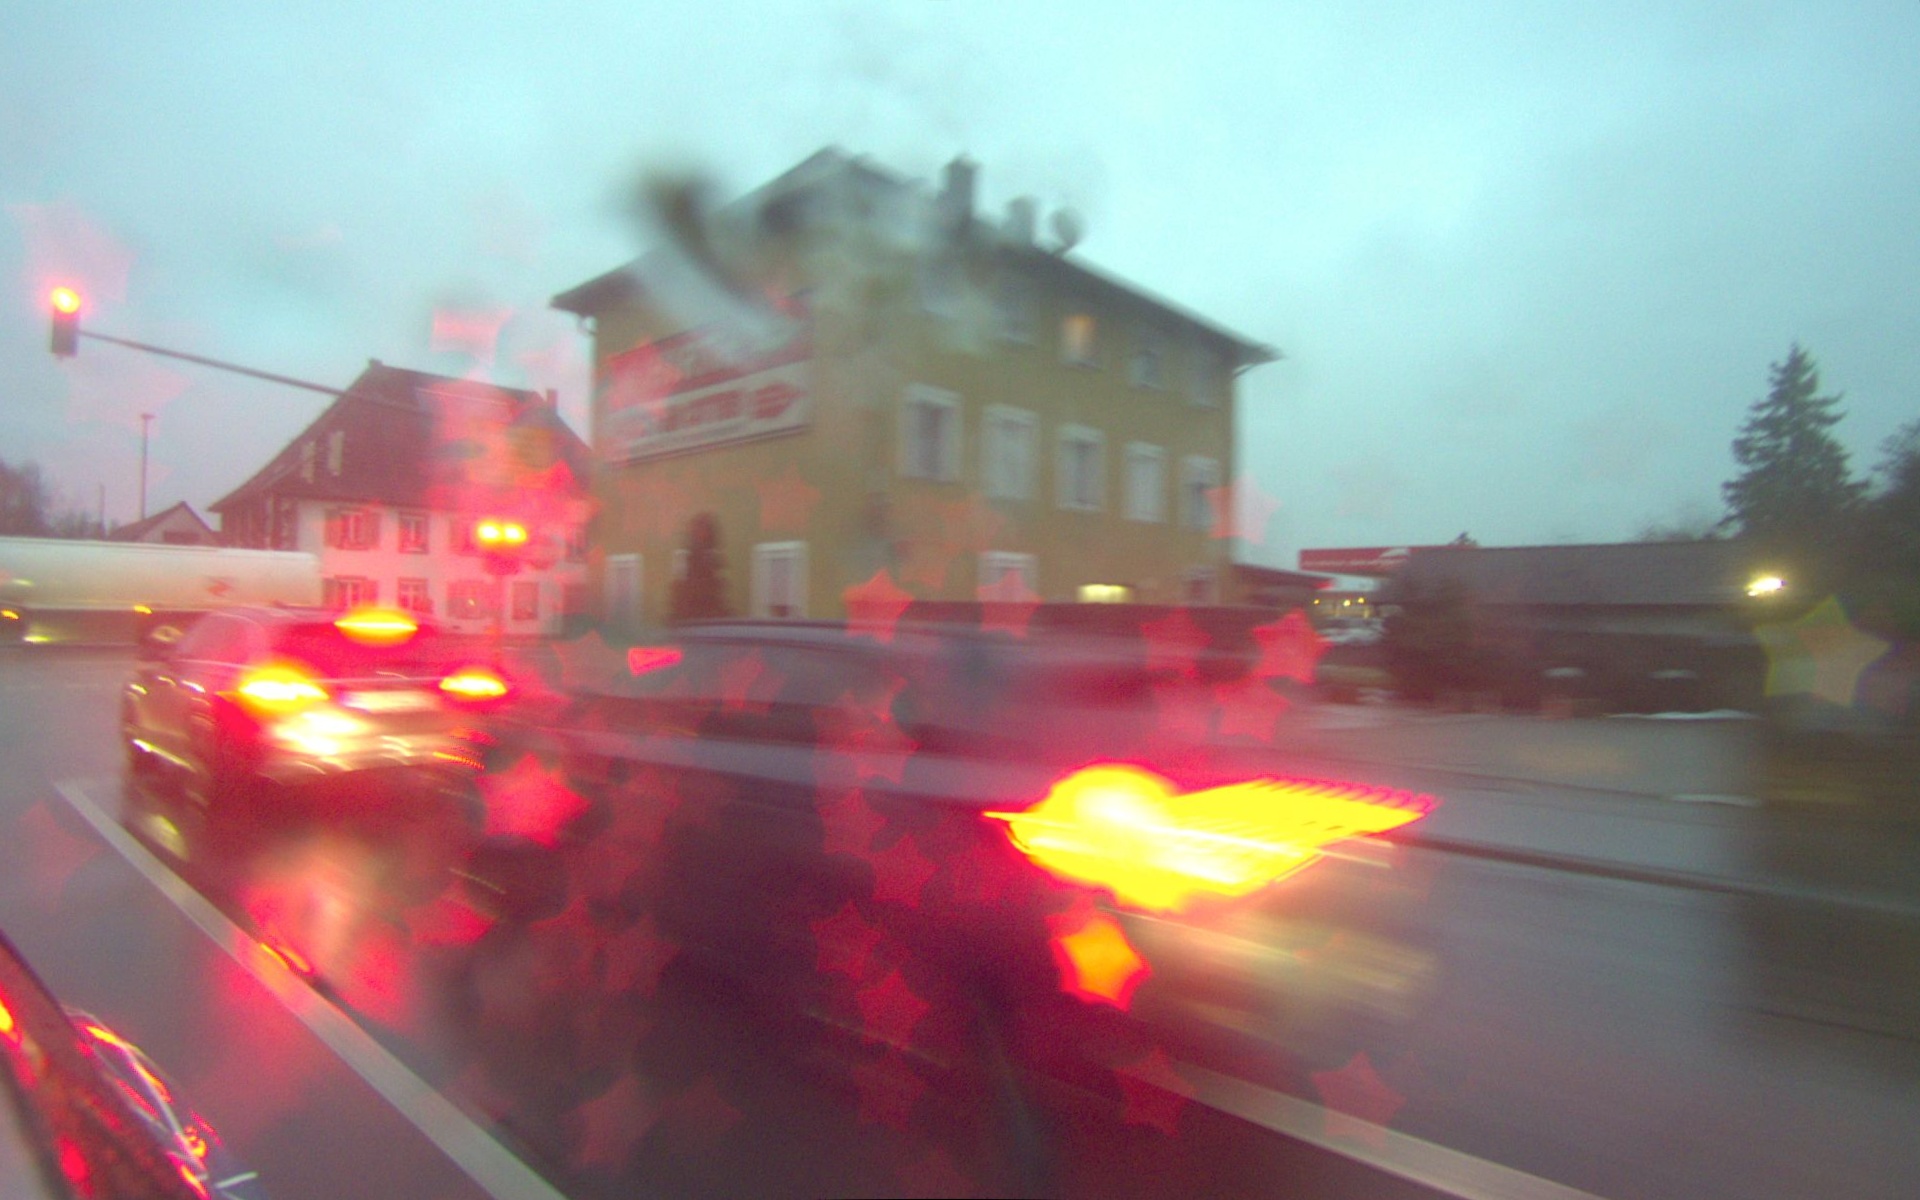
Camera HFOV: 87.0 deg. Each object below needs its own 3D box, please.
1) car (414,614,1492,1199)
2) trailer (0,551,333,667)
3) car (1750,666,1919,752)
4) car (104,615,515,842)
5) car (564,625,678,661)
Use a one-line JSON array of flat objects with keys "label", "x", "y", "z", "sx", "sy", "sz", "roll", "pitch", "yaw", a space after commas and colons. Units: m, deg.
[{"label": "car", "x": -0.410, "y": 0.785, "z": 4.130, "sx": 4.284, "sy": 1.383, "sz": 1.806, "roll": -1, "pitch": -3, "yaw": 42}, {"label": "trailer", "x": -25.825, "y": 0.383, "z": 31.227, "sx": 2.496, "sy": 3.265, "sz": 10.715, "roll": -2, "pitch": -3, "yaw": 42}, {"label": "car", "x": 16.952, "y": 1.983, "z": 18.630, "sx": 1.506, "sy": 1.441, "sz": 3.544, "roll": 4, "pitch": -4, "yaw": -40}, {"label": "car", "x": -5.658, "y": 0.873, "z": 8.531, "sx": 4.524, "sy": 1.405, "sz": 1.859, "roll": -1, "pitch": -3, "yaw": 44}, {"label": "car", "x": -14.258, "y": 1.829, "z": 42.736, "sx": 1.667, "sy": 1.450, "sz": 4.319, "roll": -2, "pitch": -4, "yaw": 42}]
